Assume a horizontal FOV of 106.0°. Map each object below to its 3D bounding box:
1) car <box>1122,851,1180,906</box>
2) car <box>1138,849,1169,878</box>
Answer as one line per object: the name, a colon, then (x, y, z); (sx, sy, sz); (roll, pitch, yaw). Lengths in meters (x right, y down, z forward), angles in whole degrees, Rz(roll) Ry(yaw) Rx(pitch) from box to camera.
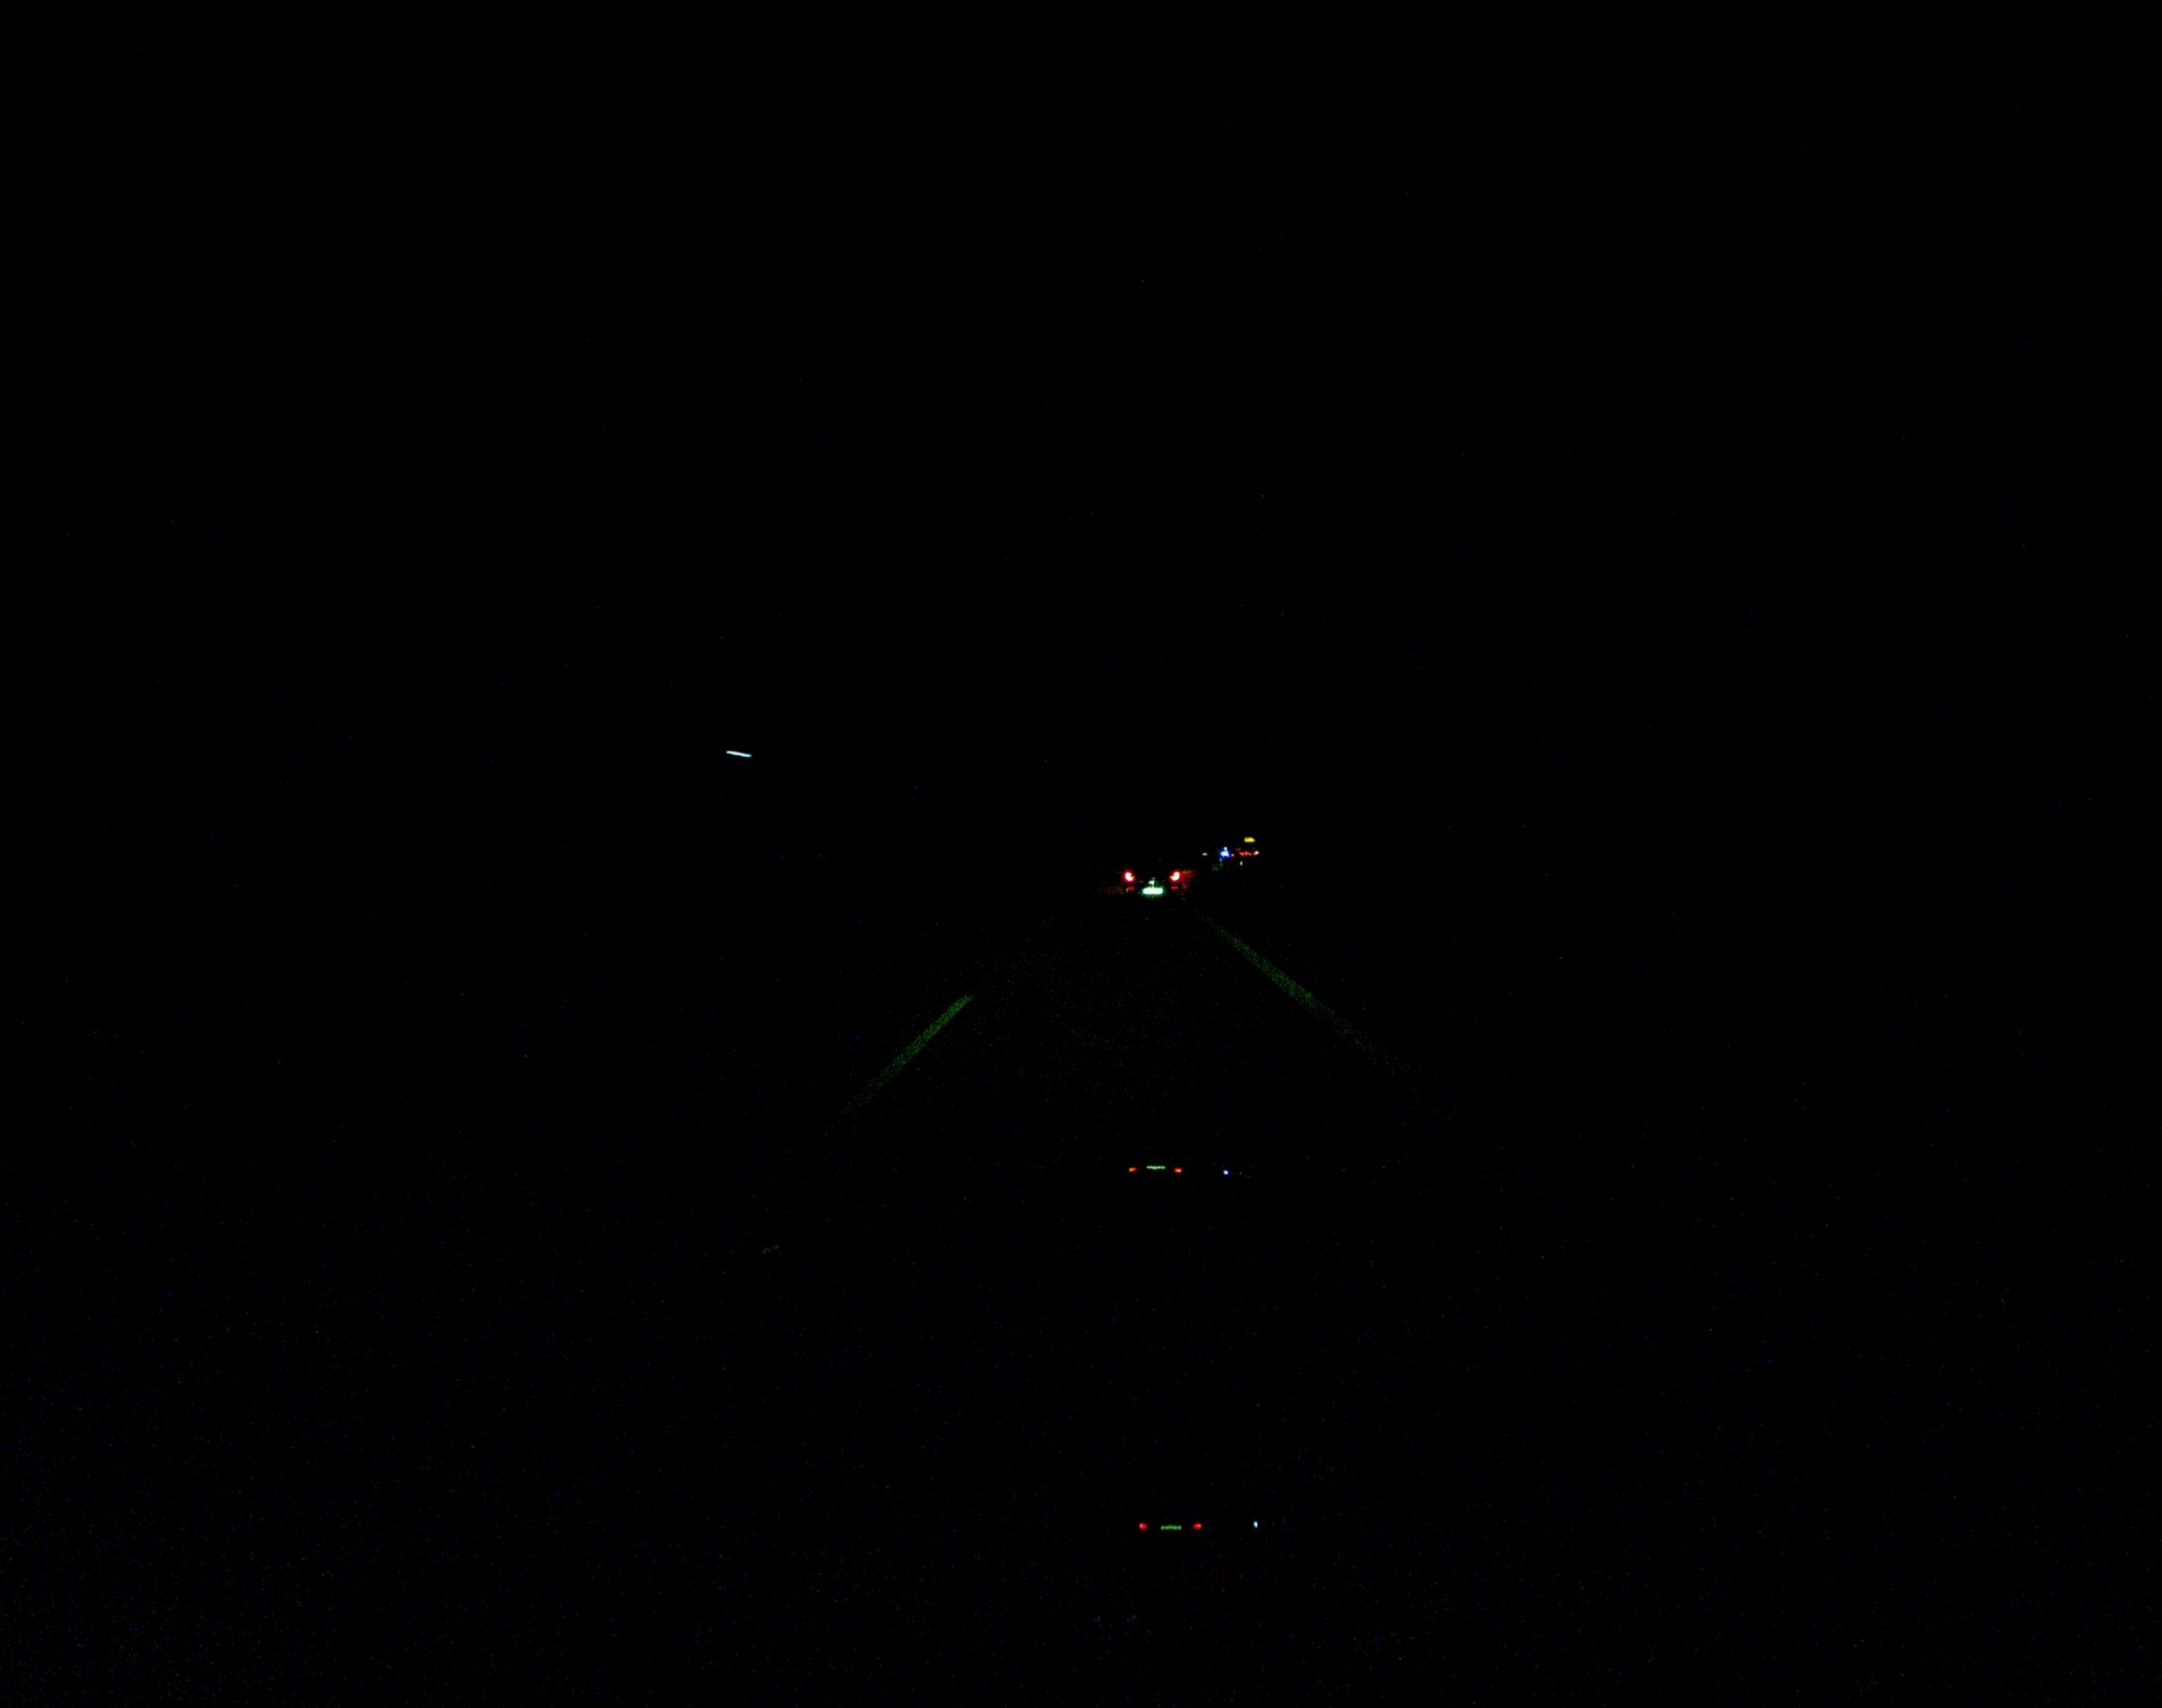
car: (2.022, 0.663, 24.182); (1.581, 1.508, 4.004); (0, 0, 3)
car: (4.616, 0.583, 52.206); (1.898, 1.698, 4.005); (-2, 0, 4)
